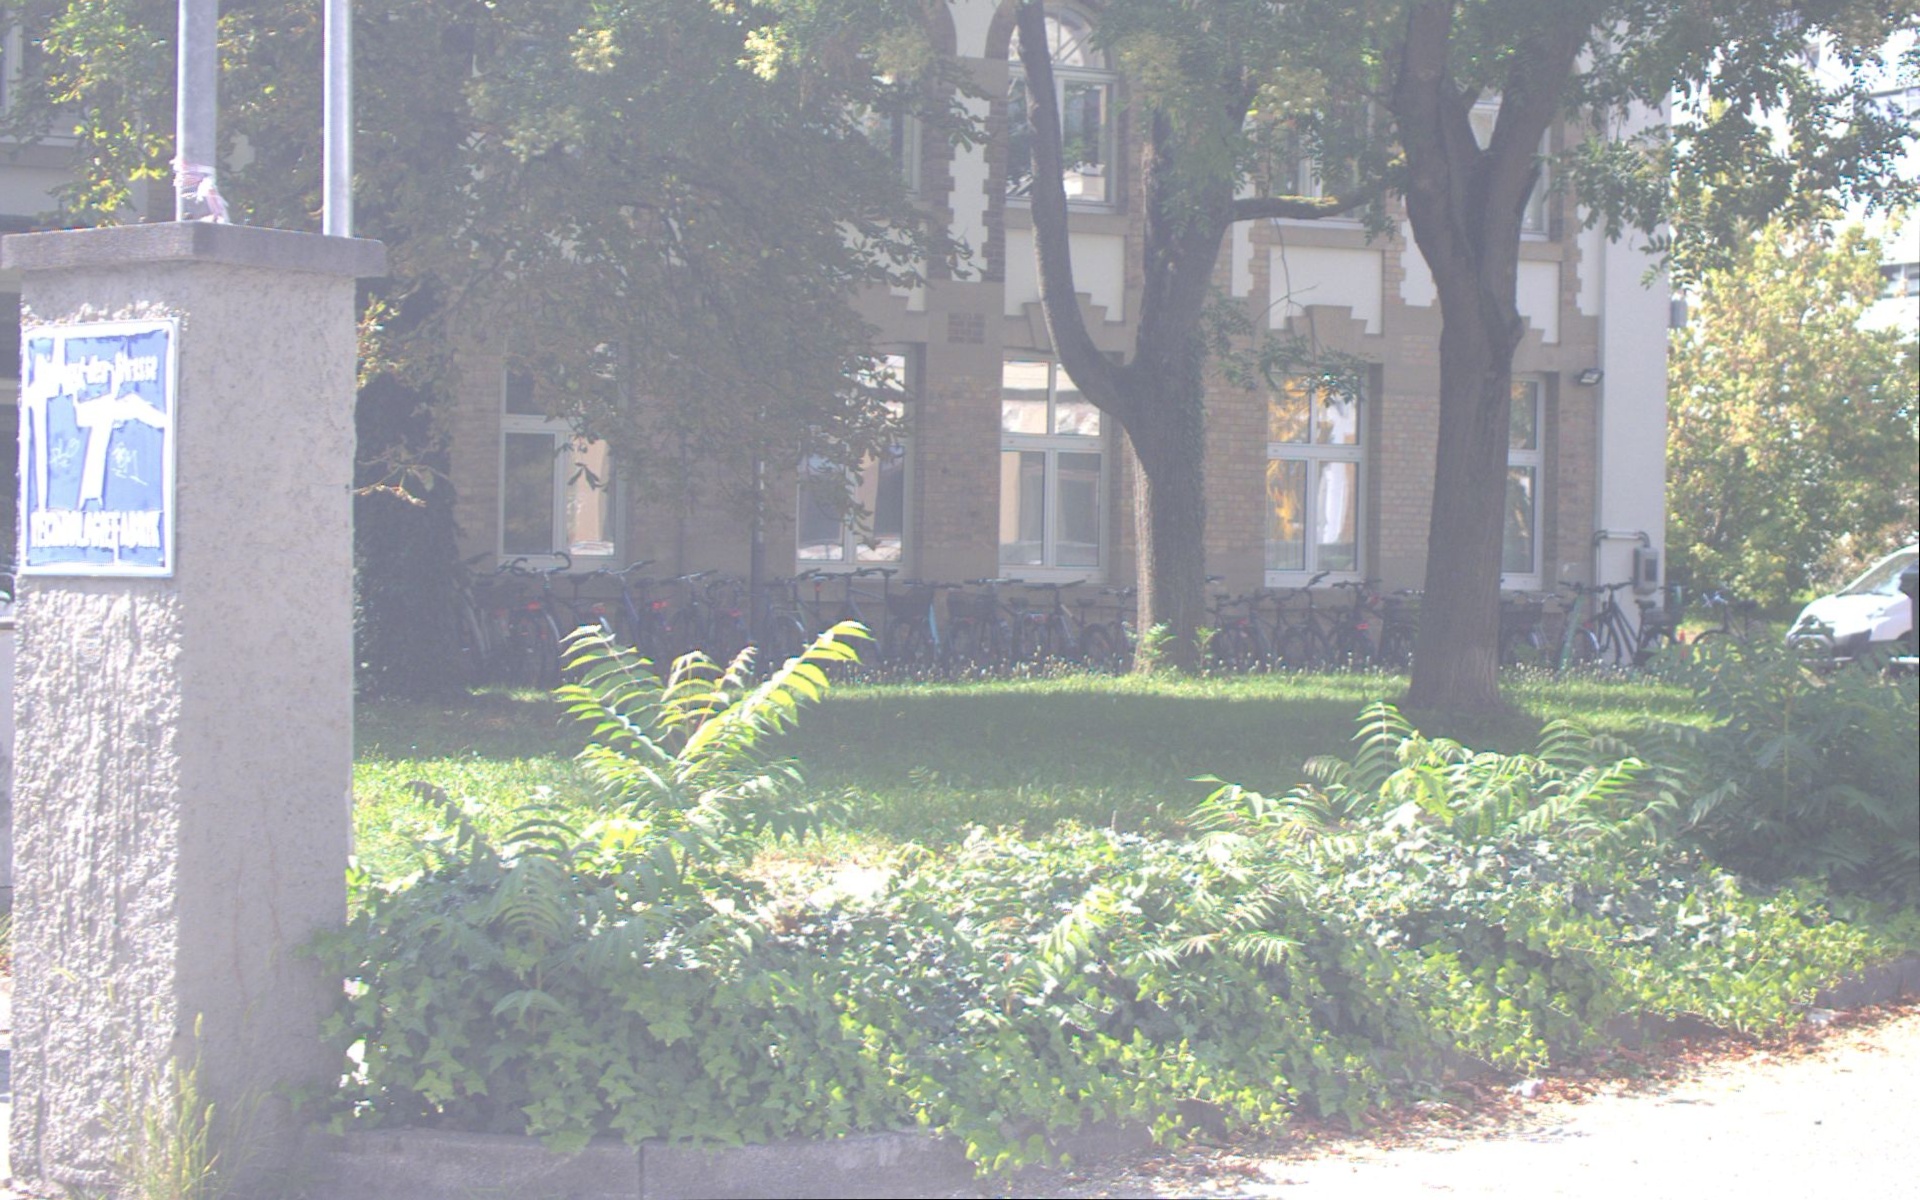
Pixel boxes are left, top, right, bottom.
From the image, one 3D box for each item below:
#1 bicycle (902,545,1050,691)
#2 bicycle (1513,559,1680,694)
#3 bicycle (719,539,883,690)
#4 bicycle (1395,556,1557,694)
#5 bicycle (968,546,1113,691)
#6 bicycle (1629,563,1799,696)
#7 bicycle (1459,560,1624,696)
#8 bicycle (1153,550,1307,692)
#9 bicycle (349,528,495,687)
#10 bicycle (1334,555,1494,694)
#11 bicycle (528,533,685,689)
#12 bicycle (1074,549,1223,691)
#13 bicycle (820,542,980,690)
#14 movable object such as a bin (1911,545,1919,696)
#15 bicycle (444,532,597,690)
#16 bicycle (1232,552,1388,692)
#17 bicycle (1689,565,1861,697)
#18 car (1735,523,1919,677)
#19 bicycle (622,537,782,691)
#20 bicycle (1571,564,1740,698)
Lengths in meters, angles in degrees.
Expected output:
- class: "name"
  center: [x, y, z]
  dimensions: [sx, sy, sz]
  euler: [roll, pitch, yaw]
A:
- class: "bicycle"
  center: [0.127, 0.153, 31.836]
  dimensions: [0.625, 1.298, 2.274]
  euler: [1, 0, -19]
- class: "bicycle"
  center: [6.329, 0.245, 34.299]
  dimensions: [0.607, 1.298, 2.174]
  euler: [1, 0, -19]
- class: "bicycle"
  center: [-1.466, 0.118, 31.137]
  dimensions: [0.769, 1.298, 2.527]
  euler: [1, 0, -19]
- class: "bicycle"
  center: [5.051, 0.230, 33.822]
  dimensions: [0.607, 1.298, 2.174]
  euler: [1, 0, -19]
- class: "bicycle"
  center: [0.732, 0.162, 32.100]
  dimensions: [0.607, 1.298, 2.174]
  euler: [1, 0, -19]
- class: "bicycle"
  center: [7.606, 0.284, 34.791]
  dimensions: [0.607, 1.298, 2.174]
  euler: [1, 0, -19]
- class: "bicycle"
  center: [5.725, 0.259, 33.962]
  dimensions: [0.607, 1.298, 2.174]
  euler: [1, 0, -19]
- class: "bicycle"
  center: [2.549, 0.190, 32.722]
  dimensions: [0.607, 1.298, 2.174]
  euler: [1, 0, -19]
- class: "bicycle"
  center: [-4.636, 0.052, 29.483]
  dimensions: [0.769, 1.298, 2.527]
  euler: [1, 0, -19]
- class: "bicycle"
  center: [4.391, 0.221, 33.417]
  dimensions: [0.607, 1.298, 2.174]
  euler: [1, 0, -19]
- class: "bicycle"
  center: [-3.115, 0.081, 30.064]
  dimensions: [0.769, 1.298, 2.527]
  euler: [1, 0, -19]
- class: "bicycle"
  center: [1.767, 0.178, 32.623]
  dimensions: [0.607, 1.298, 2.174]
  euler: [1, 0, -19]
- class: "bicycle"
  center: [-0.574, 0.136, 31.495]
  dimensions: [0.769, 1.298, 2.274]
  euler: [1, 0, -19]
- class: "movable object such as a bin"
  center: [9.950, 0.230, 32.609]
  dimensions: [1.245, 1.439, 1.207]
  euler: [1, 1, -29]
- class: "bicycle"
  center: [-3.813, 0.082, 29.639]
  dimensions: [0.769, 1.298, 2.527]
  euler: [1, 0, -19]
- class: "bicycle"
  center: [3.345, 0.198, 33.066]
  dimensions: [0.607, 1.298, 2.174]
  euler: [1, 0, -19]
- class: "bicycle"
  center: [8.315, 0.299, 35.180]
  dimensions: [0.607, 1.298, 2.174]
  euler: [1, 0, -19]
- class: "car"
  center: [12.913, 0.012, 44.405]
  dimensions: [5.066, 1.875, 2.503]
  euler: [1, 1, -20]
- class: "bicycle"
  center: [-2.313, 0.111, 30.493]
  dimensions: [0.769, 1.298, 2.527]
  euler: [1, 0, -19]
- class: "bicycle"
  center: [6.966, 0.291, 34.552]
  dimensions: [0.607, 1.298, 2.174]
  euler: [1, 0, -19]
